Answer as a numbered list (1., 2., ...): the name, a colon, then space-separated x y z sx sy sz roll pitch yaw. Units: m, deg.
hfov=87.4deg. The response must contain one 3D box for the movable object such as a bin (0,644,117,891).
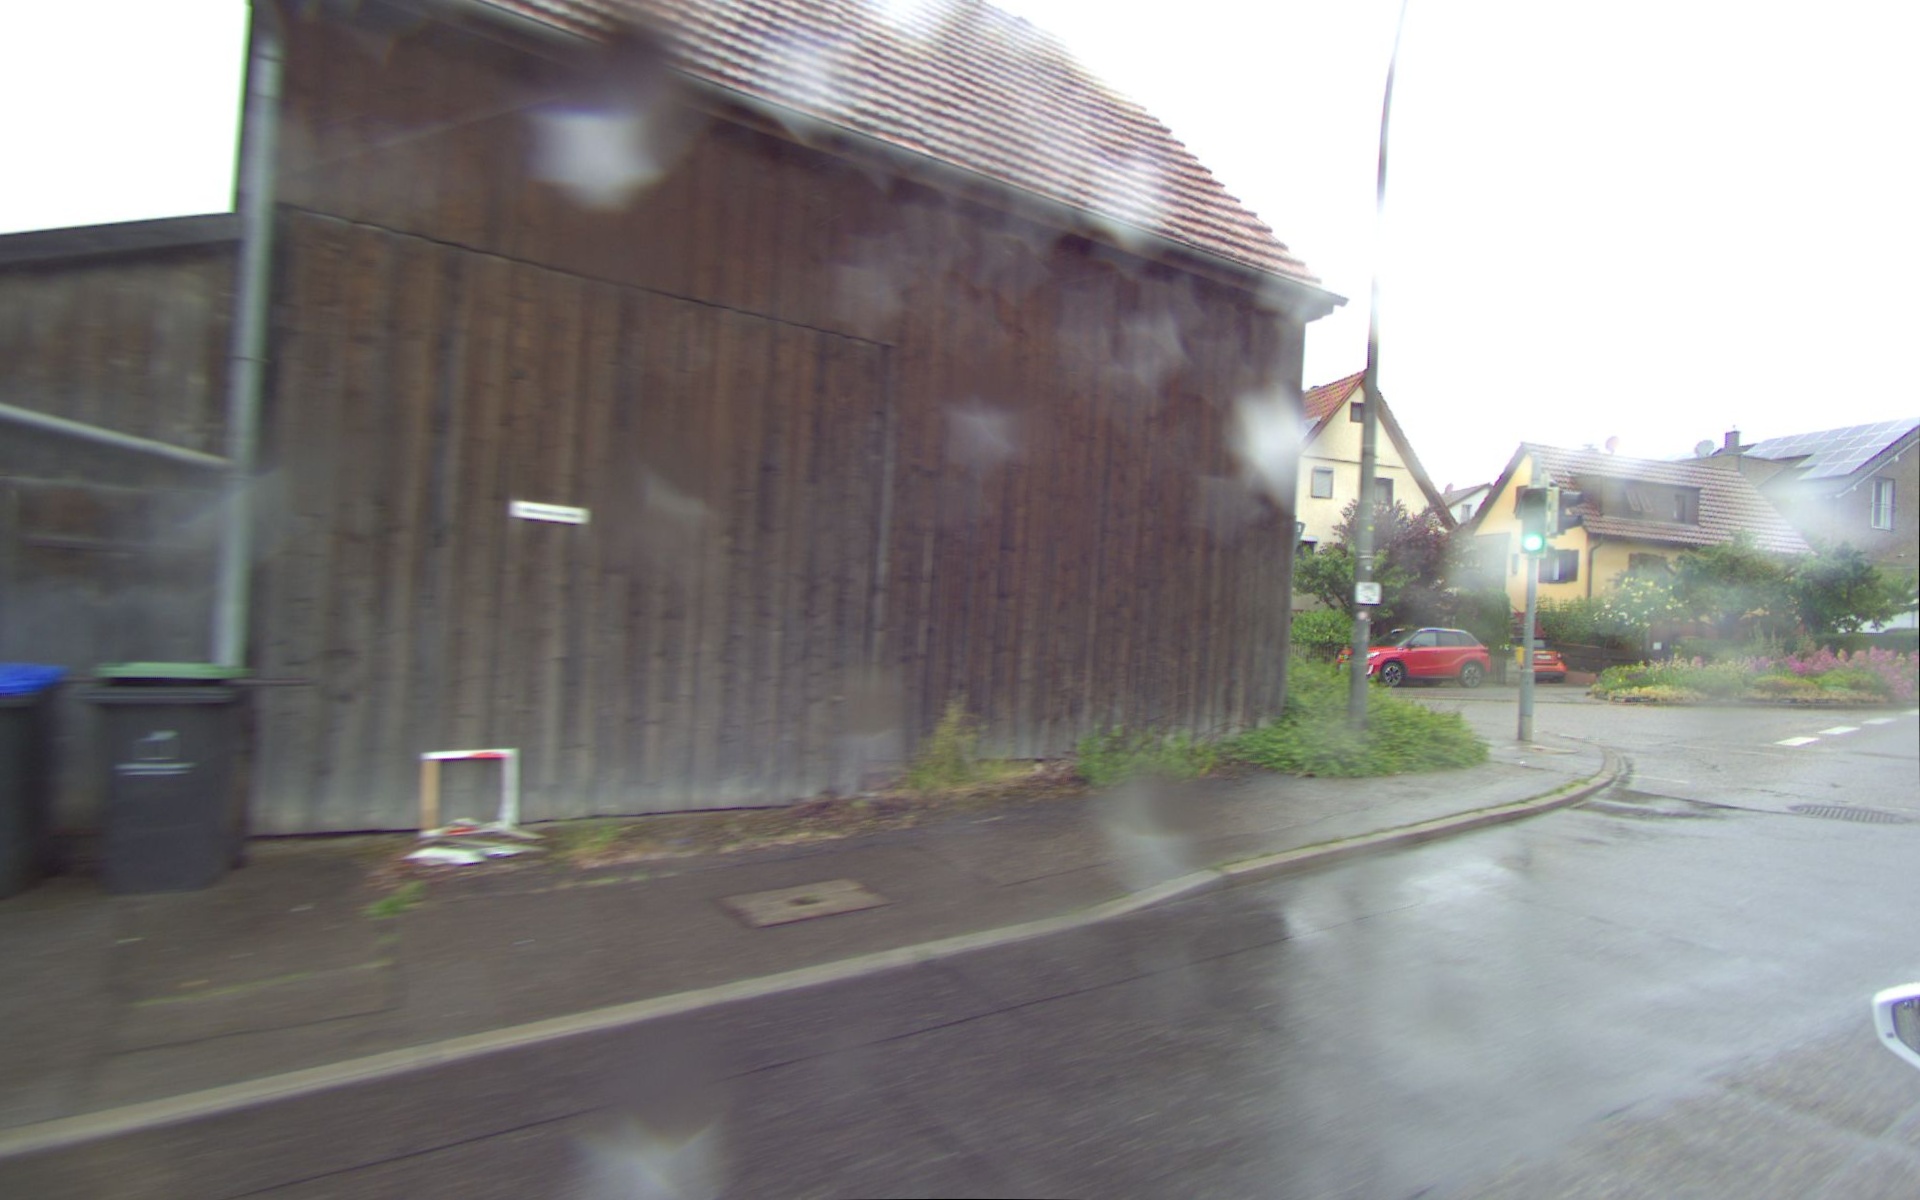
1. movable object such as a bin: -4.601 0.774 4.871 0.589 1.075 0.814 3 -1 -29

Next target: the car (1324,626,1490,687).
1. car: 12.235 1.522 27.563 3.951 1.582 1.750 1 -1 -14

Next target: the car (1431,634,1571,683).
1. car: 17.692 1.884 33.077 1.832 1.402 3.988 1 -1 -15

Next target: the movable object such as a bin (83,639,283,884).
1. movable object such as a bin: -3.987 0.781 5.228 0.643 1.092 0.893 3 0 -29
